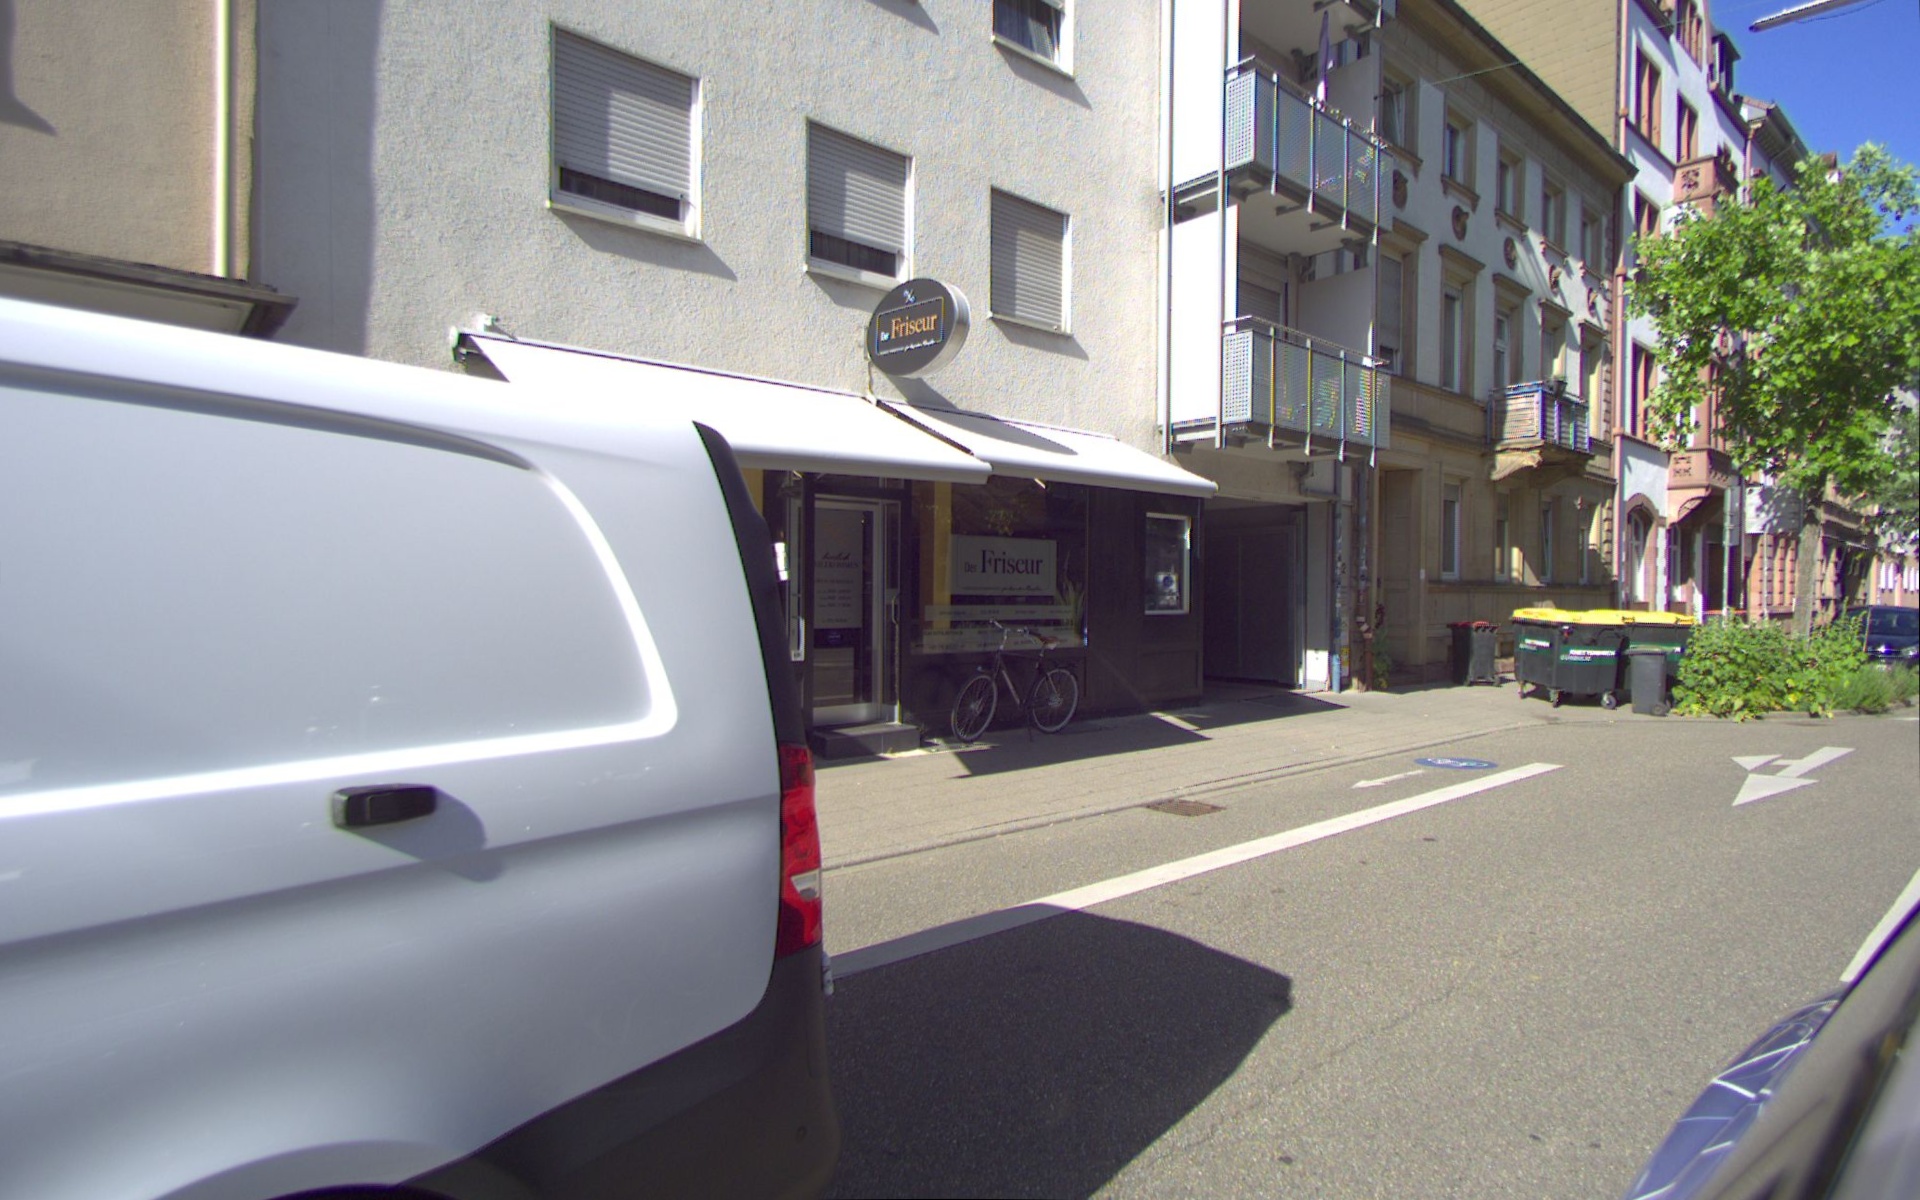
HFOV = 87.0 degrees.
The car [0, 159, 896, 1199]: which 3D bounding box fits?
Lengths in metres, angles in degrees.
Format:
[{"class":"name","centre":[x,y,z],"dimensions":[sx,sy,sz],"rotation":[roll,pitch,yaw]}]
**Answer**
[{"class":"car","centre":[-2.523,0.477,0.911],"dimensions":[4.750,1.833,1.971],"rotation":[-1,1,-42]}]

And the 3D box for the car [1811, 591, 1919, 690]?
[{"class":"car","centre":[16.734,0.653,18.230],"dimensions":[3.485,1.616,1.626],"rotation":[0,1,-41]}]

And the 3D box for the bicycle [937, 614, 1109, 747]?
[{"class":"bicycle","centre":[0.653,0.745,10.020],"dimensions":[1.743,1.157,0.598],"rotation":[0,3,-41]}]
